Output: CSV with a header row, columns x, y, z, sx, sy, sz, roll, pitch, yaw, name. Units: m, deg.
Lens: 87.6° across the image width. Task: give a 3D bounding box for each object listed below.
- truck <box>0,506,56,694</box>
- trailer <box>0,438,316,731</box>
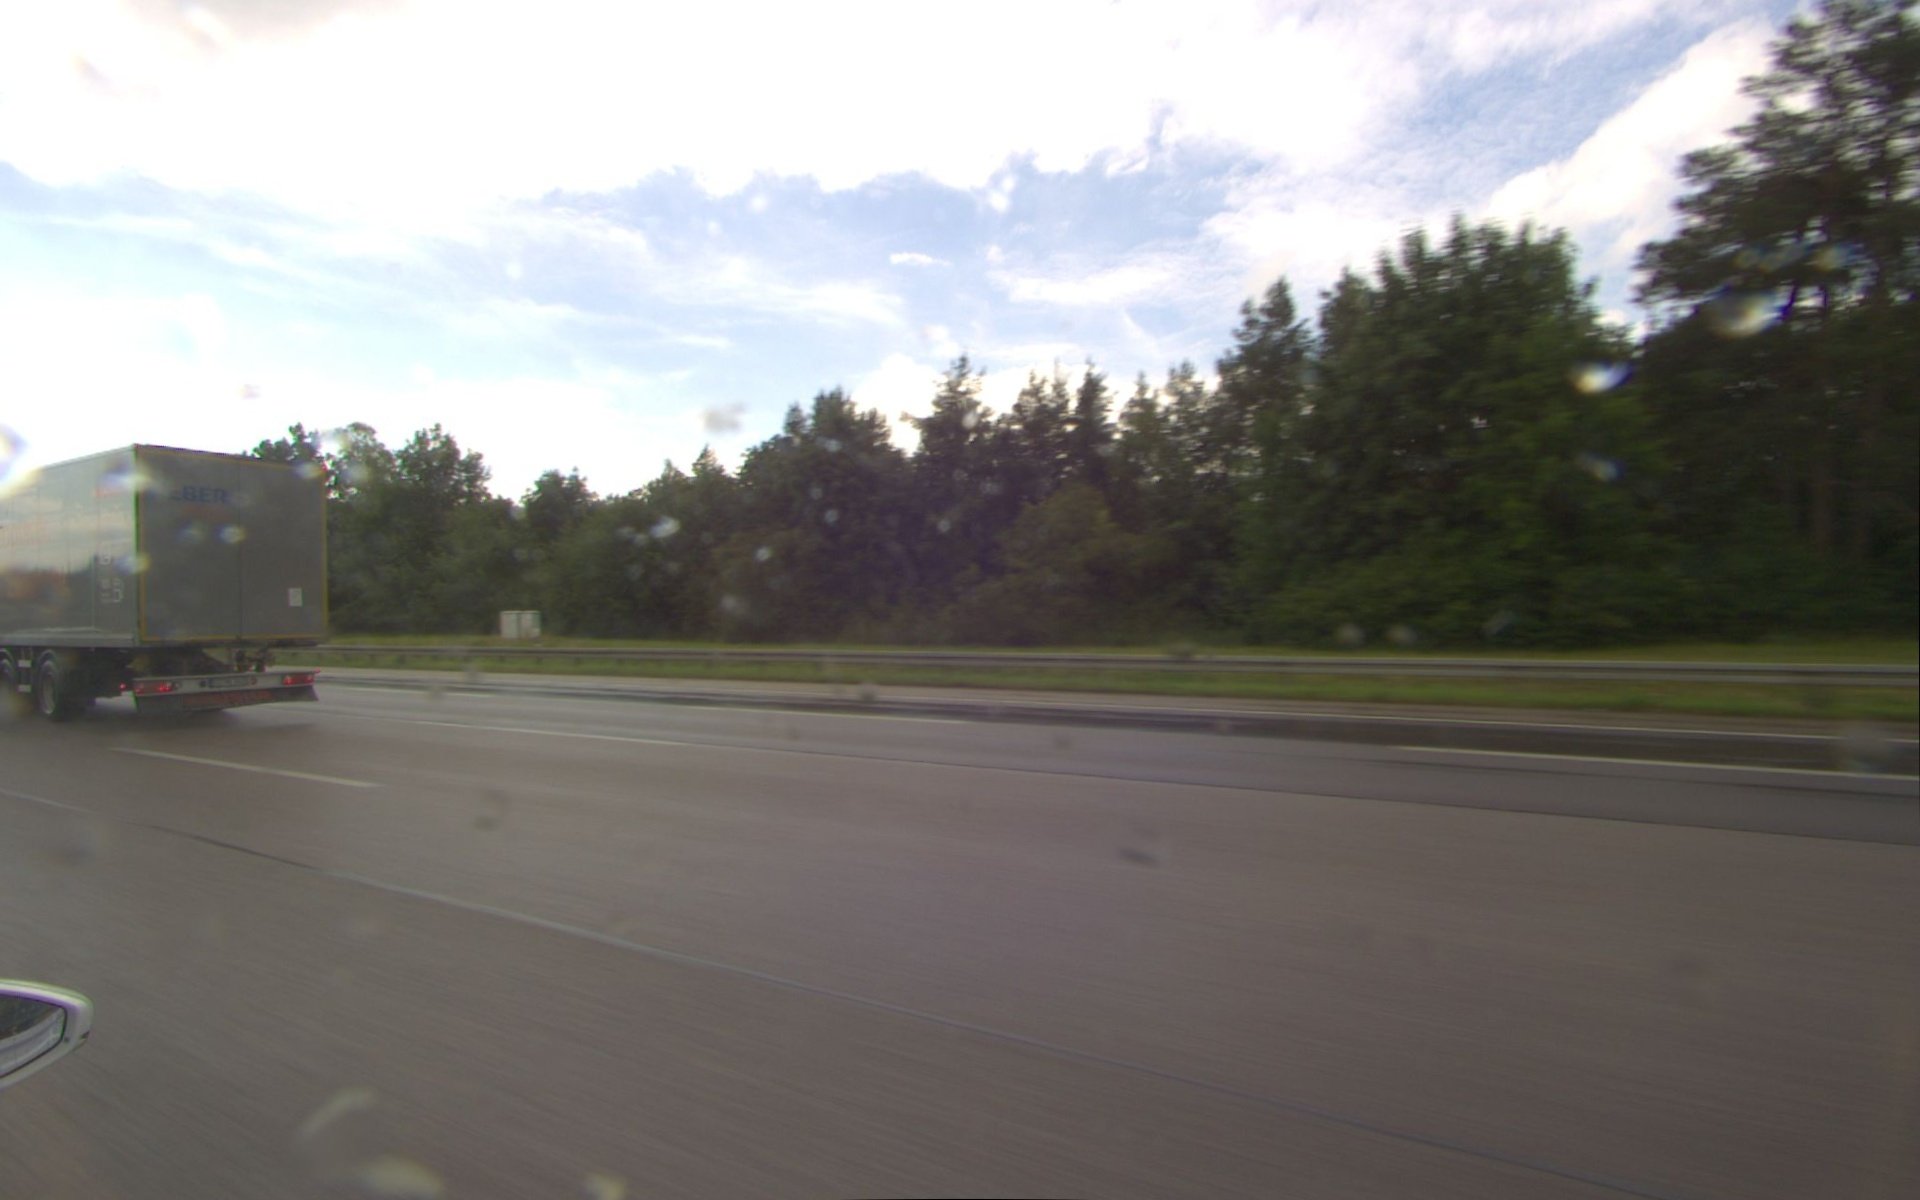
x,y,z,sx,sy,sz,roll,pitch,yaw,name
-22.378,0.025,22.055,5.314,3.918,2.289,0,0,32,truck
-16.389,-0.136,18.354,13.218,4.054,2.319,-1,0,32,trailer
